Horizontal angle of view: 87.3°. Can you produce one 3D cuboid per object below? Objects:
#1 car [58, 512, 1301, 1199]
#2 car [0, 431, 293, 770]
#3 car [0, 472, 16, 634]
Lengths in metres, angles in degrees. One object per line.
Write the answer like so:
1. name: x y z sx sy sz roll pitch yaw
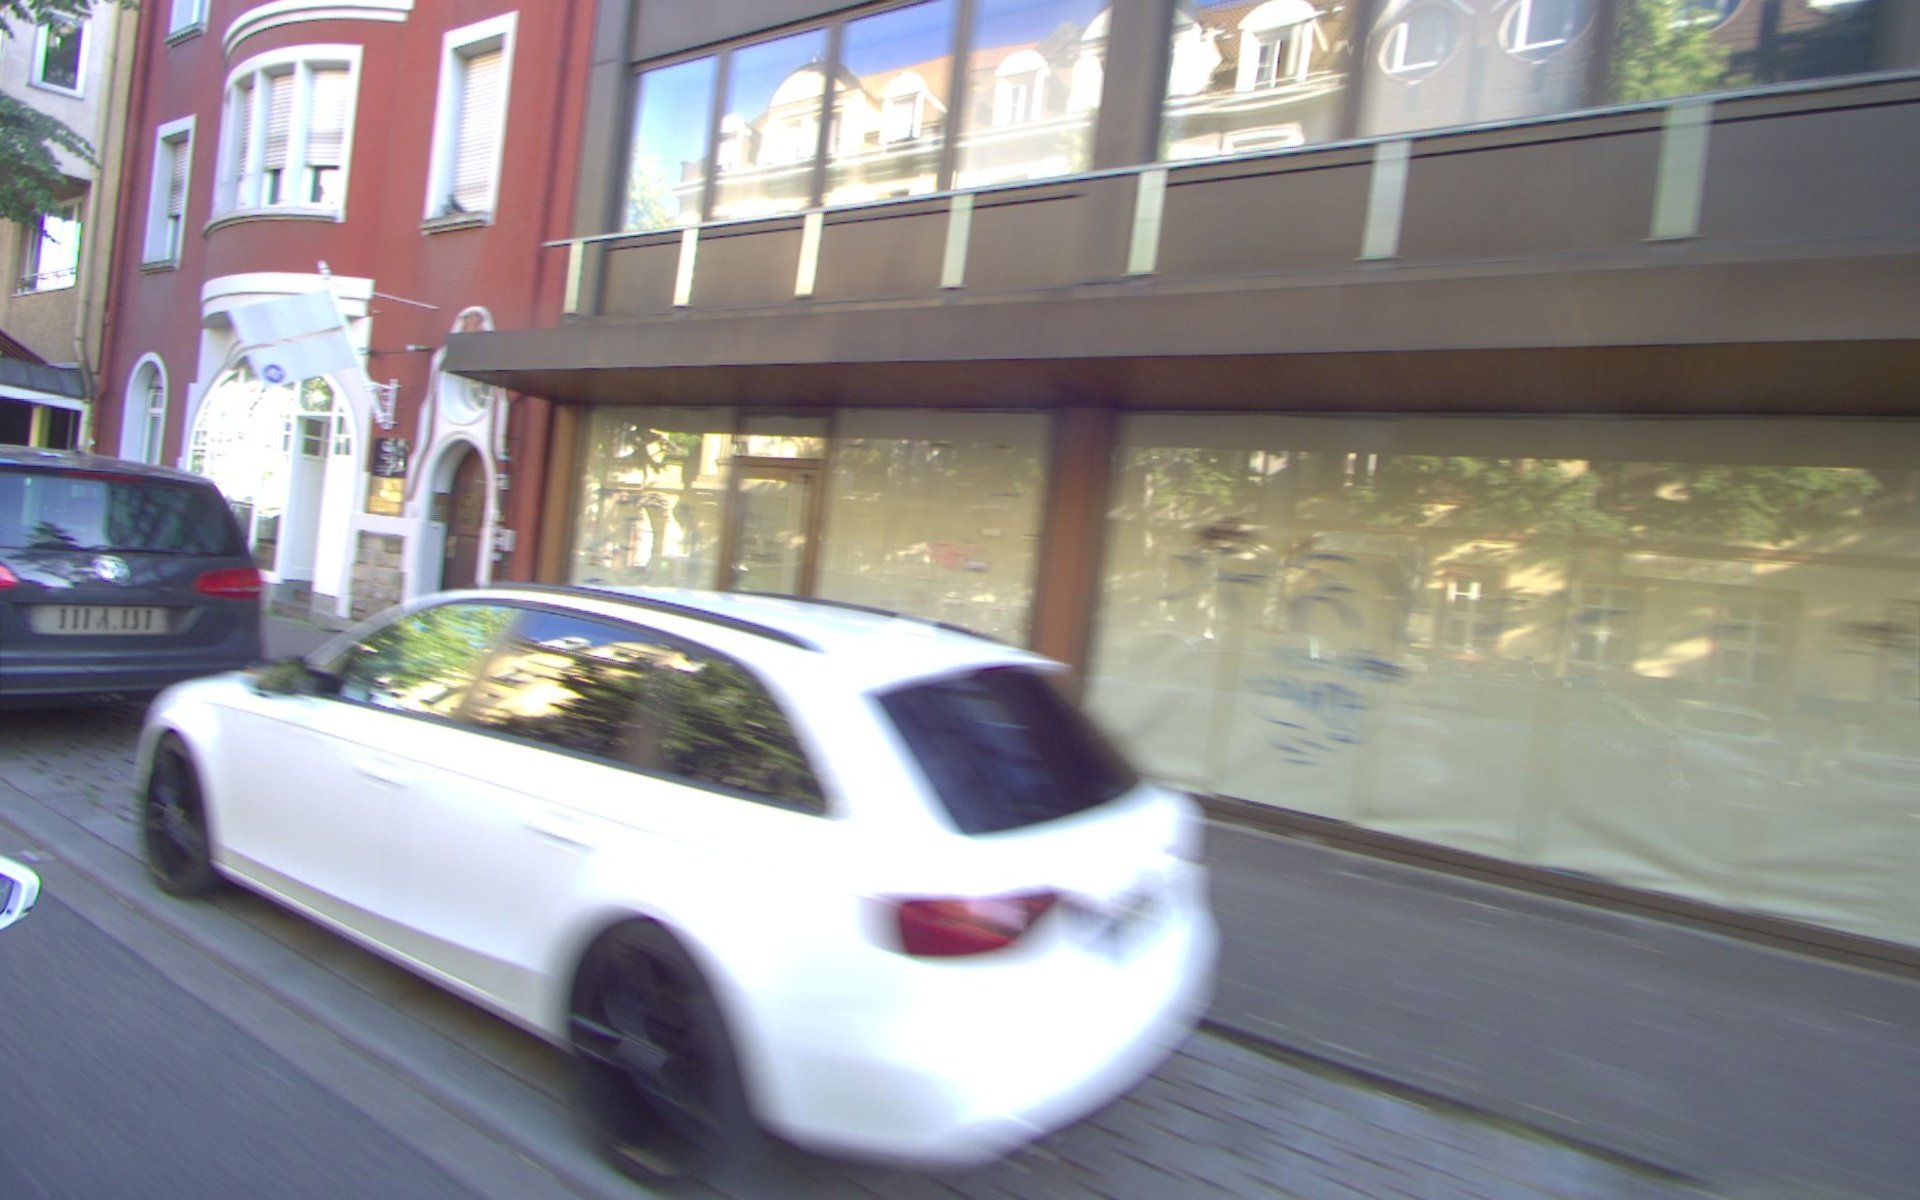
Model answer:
1. car: -1.410 0.607 3.874 4.762 1.421 1.822 7 2 32
2. car: -6.796 -0.212 7.087 4.853 1.801 1.821 7 2 35
3. car: -11.985 -0.744 10.557 4.761 1.617 1.822 7 2 32
